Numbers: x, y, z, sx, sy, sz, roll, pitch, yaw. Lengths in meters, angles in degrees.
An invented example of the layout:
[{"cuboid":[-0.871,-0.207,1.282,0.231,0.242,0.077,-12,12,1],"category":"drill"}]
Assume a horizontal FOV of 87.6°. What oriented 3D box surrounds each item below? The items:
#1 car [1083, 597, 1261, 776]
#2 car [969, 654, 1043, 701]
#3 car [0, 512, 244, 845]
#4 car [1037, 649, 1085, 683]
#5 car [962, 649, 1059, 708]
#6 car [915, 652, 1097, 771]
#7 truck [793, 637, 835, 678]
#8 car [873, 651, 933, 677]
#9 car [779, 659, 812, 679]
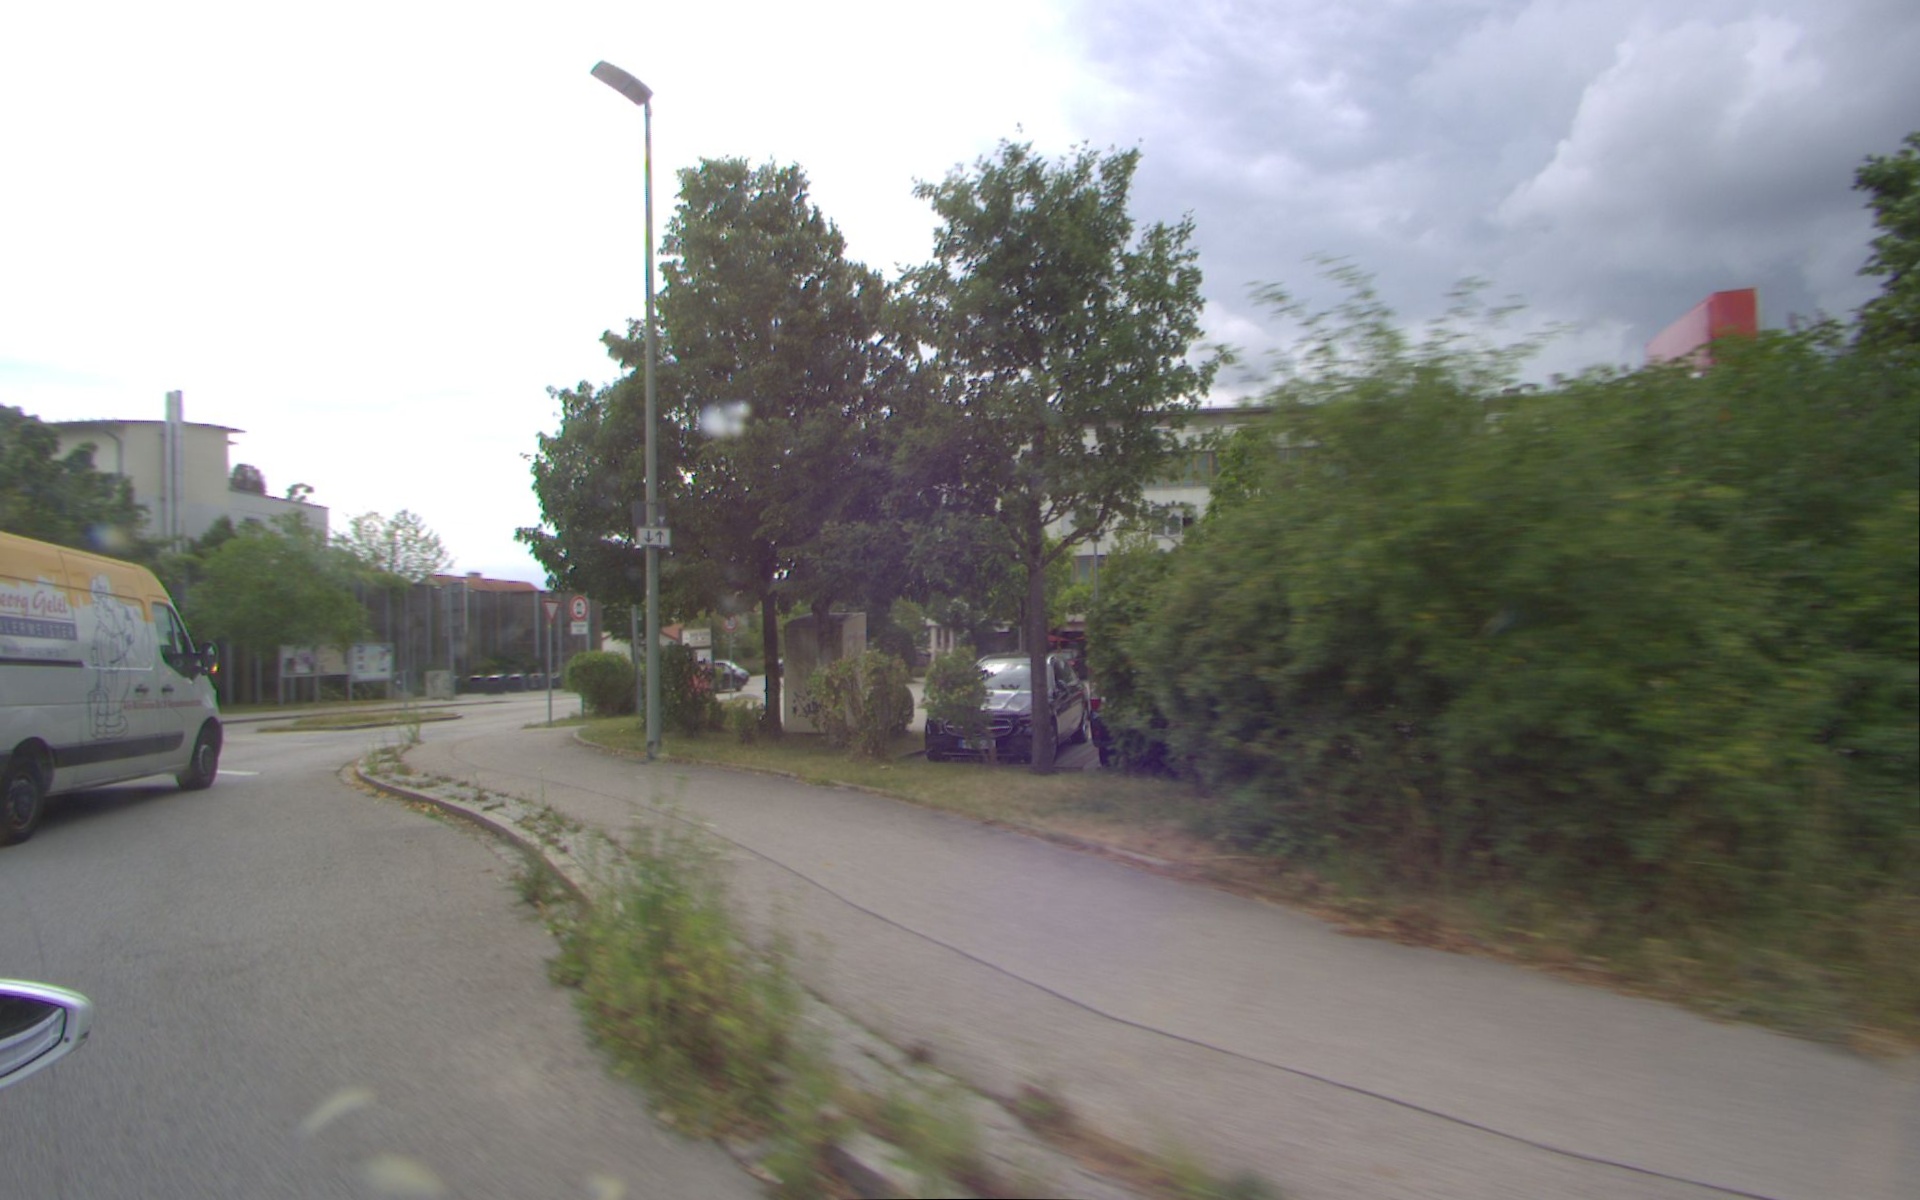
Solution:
[{"cuboid":[3.252,1.173,14.632,2.118,2.185,4.412,-1,-3,17],"category":"car"},{"cuboid":[1.611,2.621,33.736,1.787,1.474,4.002,-2,-5,12],"category":"car"},{"cuboid":[-8.857,0.702,9.180,2.132,2.482,5.435,1,-4,-18],"category":"car"},{"cuboid":[4.787,3.069,47.088,1.787,1.475,4.000,-2,-3,12],"category":"car"},{"cuboid":[1.458,2.112,27.484,1.788,1.475,3.998,-2,-3,16],"category":"car"},{"cuboid":[0.876,1.579,15.407,1.731,1.512,4.412,-1,-3,17],"category":"car"},{"cuboid":[-11.692,4.654,80.596,2.127,3.113,5.417,-1,-4,5],"category":"truck"},{"cuboid":[-4.067,4.595,71.776,3.939,1.753,1.650,0,-4,-27],"category":"car"},{"cuboid":[-12.056,5.046,73.750,1.512,1.396,3.513,-2,-3,5],"category":"car"}]
